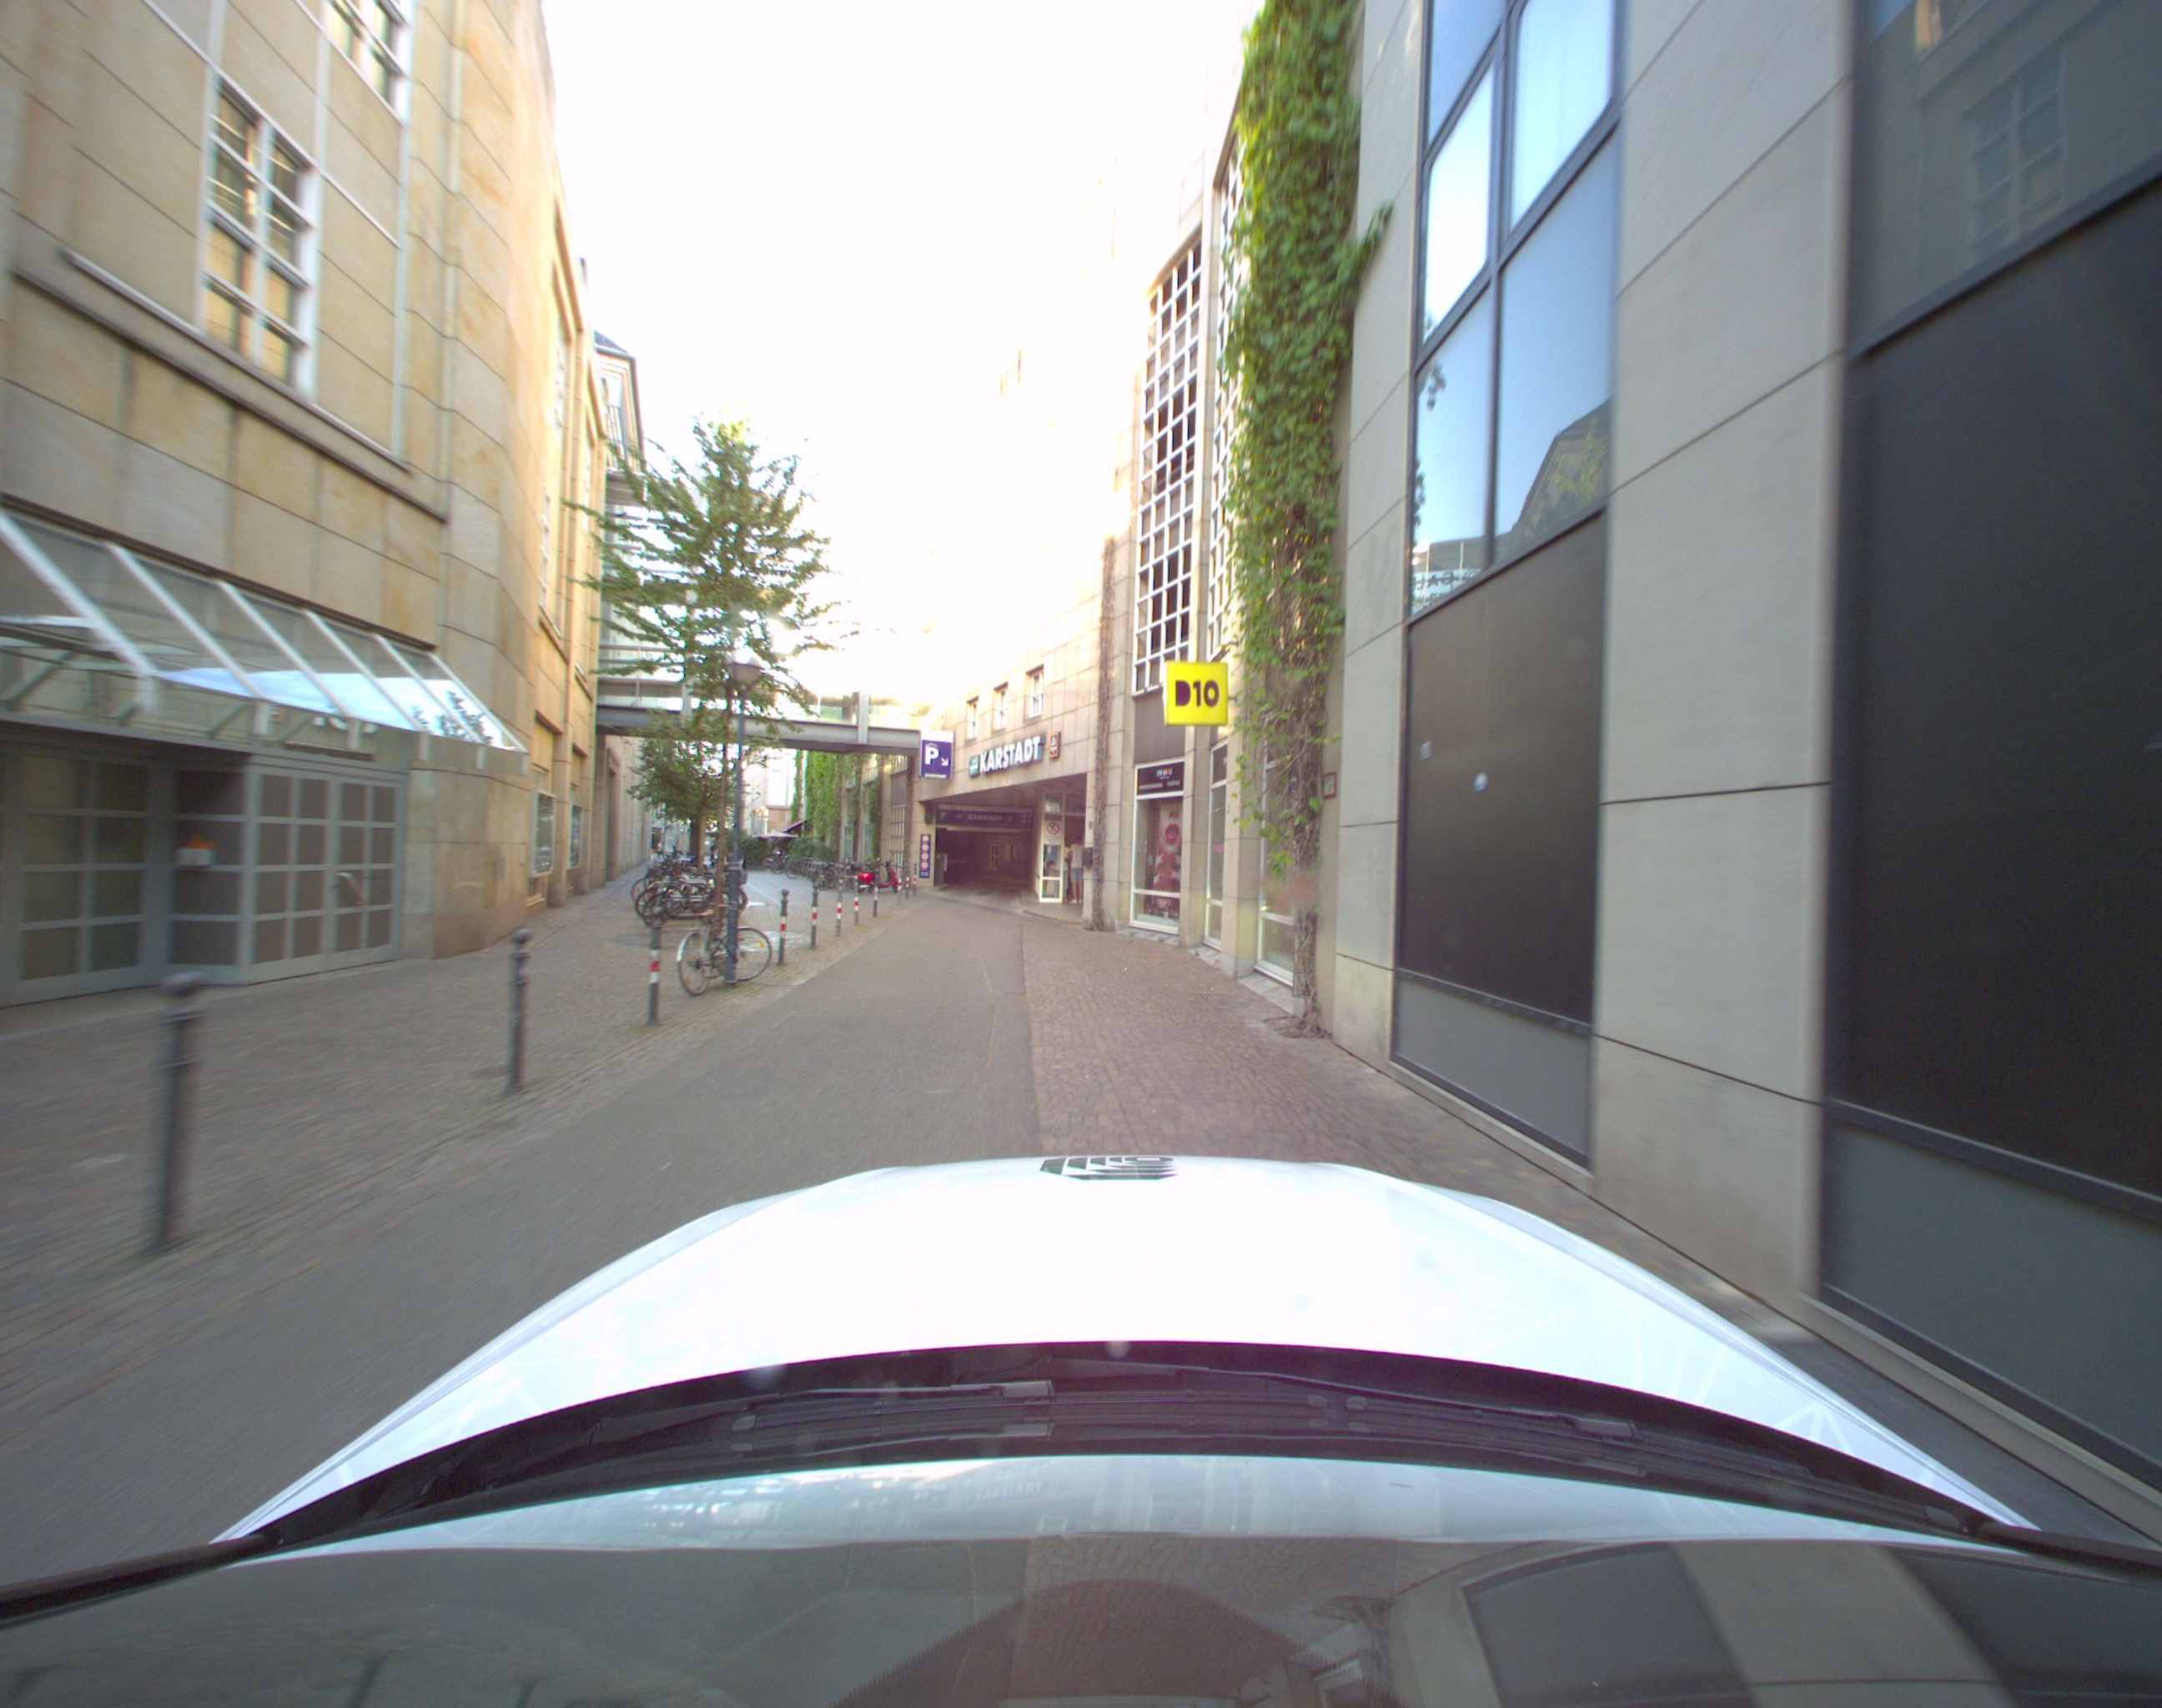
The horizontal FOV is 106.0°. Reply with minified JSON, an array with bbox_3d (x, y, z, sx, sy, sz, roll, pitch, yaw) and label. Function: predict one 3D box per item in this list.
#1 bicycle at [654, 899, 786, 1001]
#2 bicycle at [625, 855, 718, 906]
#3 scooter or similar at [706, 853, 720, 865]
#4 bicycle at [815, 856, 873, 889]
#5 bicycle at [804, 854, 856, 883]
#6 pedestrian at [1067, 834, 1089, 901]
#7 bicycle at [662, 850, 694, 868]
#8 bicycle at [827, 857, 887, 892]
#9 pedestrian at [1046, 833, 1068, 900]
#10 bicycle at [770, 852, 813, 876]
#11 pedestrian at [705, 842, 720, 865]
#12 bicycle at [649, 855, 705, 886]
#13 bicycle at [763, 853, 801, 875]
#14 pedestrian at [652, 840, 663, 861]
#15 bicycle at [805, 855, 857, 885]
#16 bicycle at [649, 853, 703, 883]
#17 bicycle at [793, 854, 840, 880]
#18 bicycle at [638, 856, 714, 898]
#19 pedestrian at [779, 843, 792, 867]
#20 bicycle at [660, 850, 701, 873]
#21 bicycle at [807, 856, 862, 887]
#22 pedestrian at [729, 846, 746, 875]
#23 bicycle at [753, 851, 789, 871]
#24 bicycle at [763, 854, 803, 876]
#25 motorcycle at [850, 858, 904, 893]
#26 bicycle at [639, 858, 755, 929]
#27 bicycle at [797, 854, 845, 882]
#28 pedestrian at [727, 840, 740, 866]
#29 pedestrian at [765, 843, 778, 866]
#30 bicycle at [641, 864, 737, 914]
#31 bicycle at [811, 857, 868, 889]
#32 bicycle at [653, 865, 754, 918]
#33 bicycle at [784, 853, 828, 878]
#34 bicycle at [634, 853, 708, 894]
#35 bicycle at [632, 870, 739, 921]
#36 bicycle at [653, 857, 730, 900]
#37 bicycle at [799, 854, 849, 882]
[{"bbox_3d":[-4.111,1.058,9.419,0.502,0.966,1.699,1,0,10],"label":"bicycle"},{"bbox_3d":[-9.851,0.643,19.660,1.920,1.182,0.691,2,0,-22],"label":"bicycle"},{"bbox_3d":[-26.128,0.334,57.820,0.896,0.843,0.903,1,0,-26],"label":"scooter or similar"},{"bbox_3d":[-8.757,0.671,30.107,2.003,1.182,0.690,0,0,-25],"label":"bicycle"},{"bbox_3d":[-10.602,0.612,34.397,2.003,1.182,0.688,0,0,-25],"label":"bicycle"},{"bbox_3d":[-0.084,0.371,22.920,0.540,1.861,0.408,2,0,1],"label":"pedestrian"},{"bbox_3d":[-28.177,0.333,57.004,1.920,1.182,0.691,2,0,-22],"label":"bicycle"},{"bbox_3d":[-8.047,0.721,29.315,2.003,1.182,0.690,0,0,-25],"label":"bicycle"},{"bbox_3d":[-0.671,0.349,23.128,0.540,1.846,0.408,2,0,1],"label":"pedestrian"},{"bbox_3d":[-14.712,0.485,41.388,2.003,1.182,0.688,0,0,-25],"label":"bicycle"},{"bbox_3d":[-26.525,-0.045,58.632,0.896,1.639,0.903,1,0,-26],"label":"pedestrian"},{"bbox_3d":[-16.324,0.677,32.938,1.920,1.182,0.691,2,0,-22],"label":"bicycle"},{"bbox_3d":[-16.830,0.562,45.855,2.003,1.182,0.688,0,0,-25],"label":"bicycle"},{"bbox_3d":[-36.527,-0.330,70.251,0.779,1.804,0.628,2,-1,-31],"label":"pedestrian"},{"bbox_3d":[-10.263,0.657,33.440,2.003,1.182,0.796,0,0,-25],"label":"bicycle"},{"bbox_3d":[-16.748,0.568,33.707,1.920,1.182,0.691,2,0,-22],"label":"bicycle"},{"bbox_3d":[-12.150,0.582,37.450,2.003,1.182,0.688,0,0,-25],"label":"bicycle"},{"bbox_3d":[-11.853,0.674,23.911,1.920,1.182,0.691,2,0,-22],"label":"bicycle"},{"bbox_3d":[-22.754,0.073,62.729,0.779,1.804,0.760,2,0,-30],"label":"pedestrian"},{"bbox_3d":[-21.618,0.419,43.968,1.920,1.182,0.691,2,0,-22],"label":"bicycle"},{"bbox_3d":[-9.709,0.661,32.035,2.003,1.182,0.796,0,0,-25],"label":"bicycle"},{"bbox_3d":[-18.266,0.342,43.346,0.752,1.509,0.632,1,0,-27],"label":"pedestrian"},{"bbox_3d":[-19.073,0.434,50.139,2.003,1.182,0.688,0,0,-25],"label":"bicycle"},{"bbox_3d":[-16.490,0.583,45.075,2.003,1.182,0.688,0,0,-25],"label":"bicycle"},{"bbox_3d":[-6.949,0.733,27.741,1.753,1.155,0.590,0,0,-22],"label":"motorcycle"},{"bbox_3d":[-7.263,0.740,15.479,1.922,1.261,0.802,2,0,-25],"label":"bicycle"},{"bbox_3d":[-11.619,0.620,36.425,2.003,1.182,0.688,0,0,-25],"label":"bicycle"},{"bbox_3d":[-24.695,-0.075,57.908,0.769,1.804,0.770,1,0,-26],"label":"pedestrian"},{"bbox_3d":[-23.760,0.042,62.592,0.779,1.804,0.760,2,0,-30],"label":"pedestrian"},{"bbox_3d":[-9.018,0.813,18.837,1.920,1.101,0.691,2,0,-22],"label":"bicycle"},{"bbox_3d":[-9.166,0.712,30.951,2.003,1.182,0.796,0,0,-25],"label":"bicycle"},{"bbox_3d":[-8.190,0.808,17.728,1.922,1.101,0.690,2,0,-25],"label":"bicycle"},{"bbox_3d":[-13.392,0.542,39.696,2.003,1.182,0.688,0,0,-25],"label":"bicycle"},{"bbox_3d":[-12.500,0.592,24.893,1.920,1.182,0.691,2,0,-22],"label":"bicycle"},{"bbox_3d":[-8.119,0.855,16.812,1.922,0.994,0.690,2,0,-25],"label":"bicycle"},{"bbox_3d":[-11.083,0.697,23.244,1.920,1.182,0.691,2,0,-22],"label":"bicycle"},{"bbox_3d":[-11.098,0.601,35.235,2.003,1.182,0.688,0,0,-25],"label":"bicycle"}]
